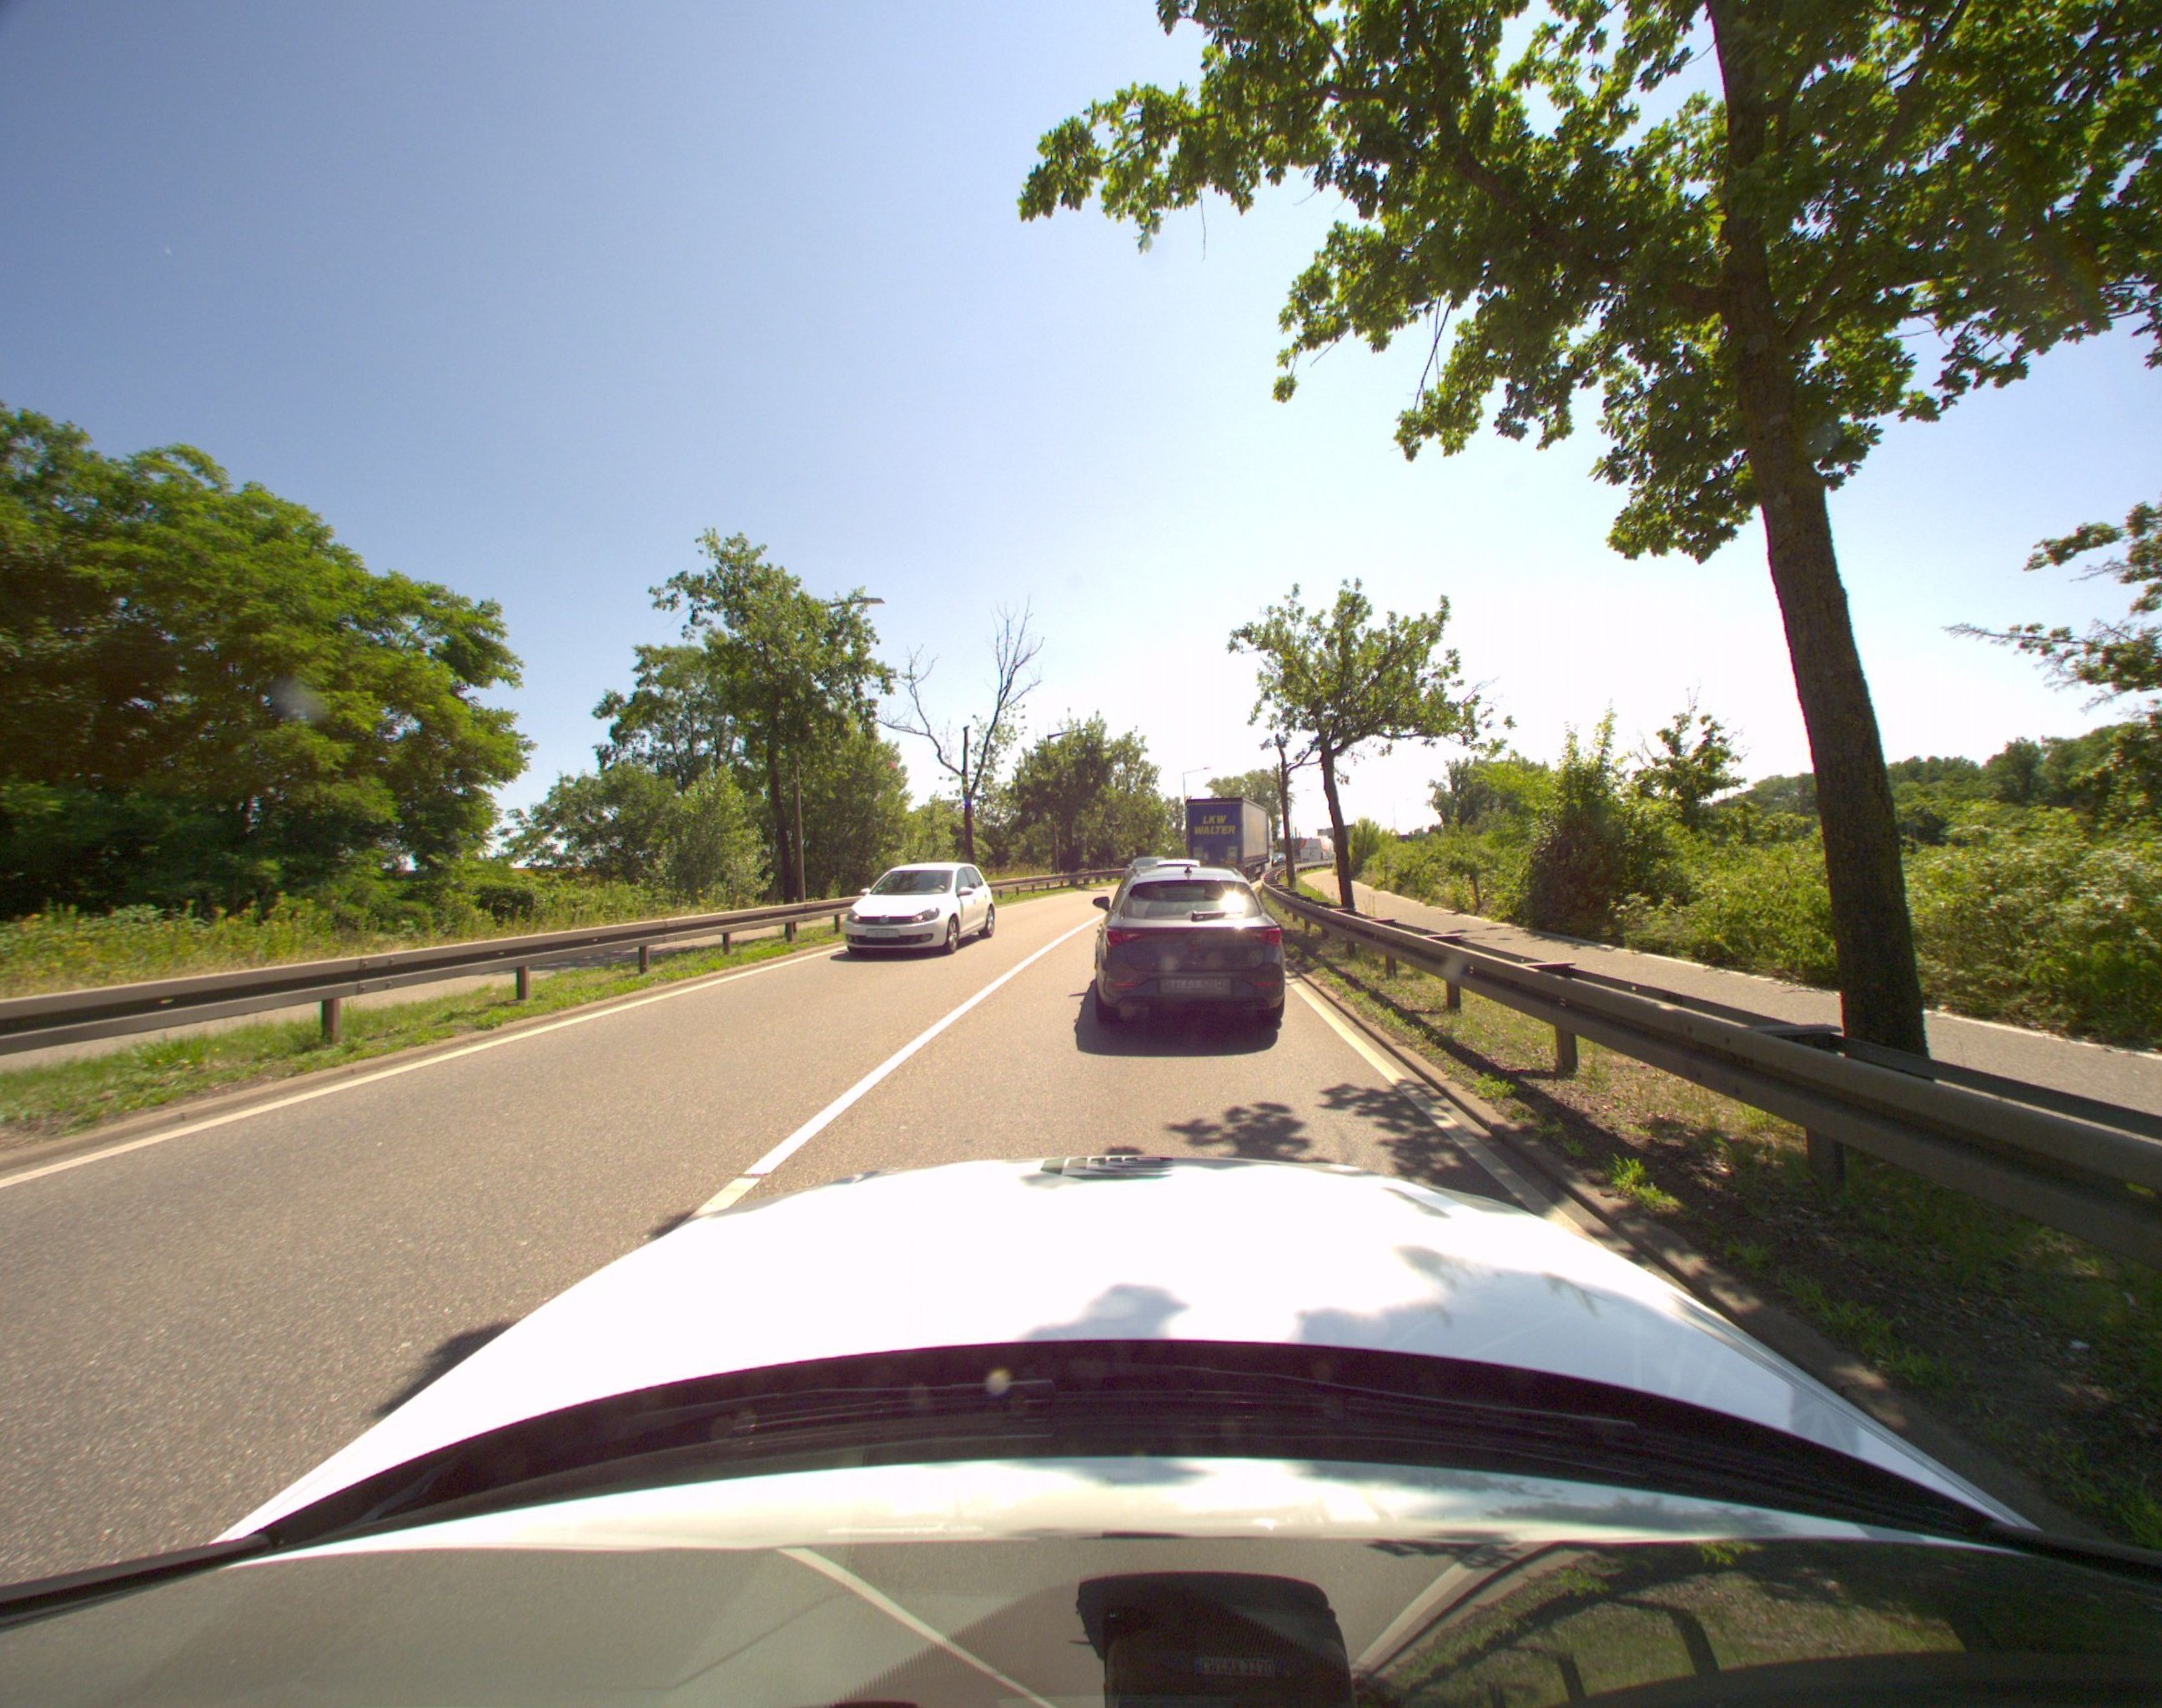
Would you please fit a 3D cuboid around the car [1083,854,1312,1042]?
[{"bbox_3d":[1.003,0.769,8.545,1.839,1.499,3.759,-1,0,1],"label":"car"}]

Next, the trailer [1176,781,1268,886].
[{"bbox_3d":[7.690,-0.904,42.642,3.109,4.614,13.005,0,0,17],"label":"trailer"}]

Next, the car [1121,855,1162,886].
[{"bbox_3d":[3.131,0.777,41.331,1.734,1.447,4.528,-1,0,9],"label":"car"}]

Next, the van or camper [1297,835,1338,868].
[{"bbox_3d":[20.511,-0.258,70.556,2.182,2.711,5.961,-2,0,28],"label":"van or camper"}]

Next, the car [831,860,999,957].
[{"bbox_3d":[-2.766,0.850,14.521,1.715,1.438,4.032,0,0,7],"label":"car"}]

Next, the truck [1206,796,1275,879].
[{"bbox_3d":[9.731,-0.878,49.051,3.145,4.585,7.430,-1,-1,18],"label":"truck"}]

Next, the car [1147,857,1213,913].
[{"bbox_3d":[2.911,0.835,23.361,1.583,1.461,3.556,0,0,11],"label":"car"}]
